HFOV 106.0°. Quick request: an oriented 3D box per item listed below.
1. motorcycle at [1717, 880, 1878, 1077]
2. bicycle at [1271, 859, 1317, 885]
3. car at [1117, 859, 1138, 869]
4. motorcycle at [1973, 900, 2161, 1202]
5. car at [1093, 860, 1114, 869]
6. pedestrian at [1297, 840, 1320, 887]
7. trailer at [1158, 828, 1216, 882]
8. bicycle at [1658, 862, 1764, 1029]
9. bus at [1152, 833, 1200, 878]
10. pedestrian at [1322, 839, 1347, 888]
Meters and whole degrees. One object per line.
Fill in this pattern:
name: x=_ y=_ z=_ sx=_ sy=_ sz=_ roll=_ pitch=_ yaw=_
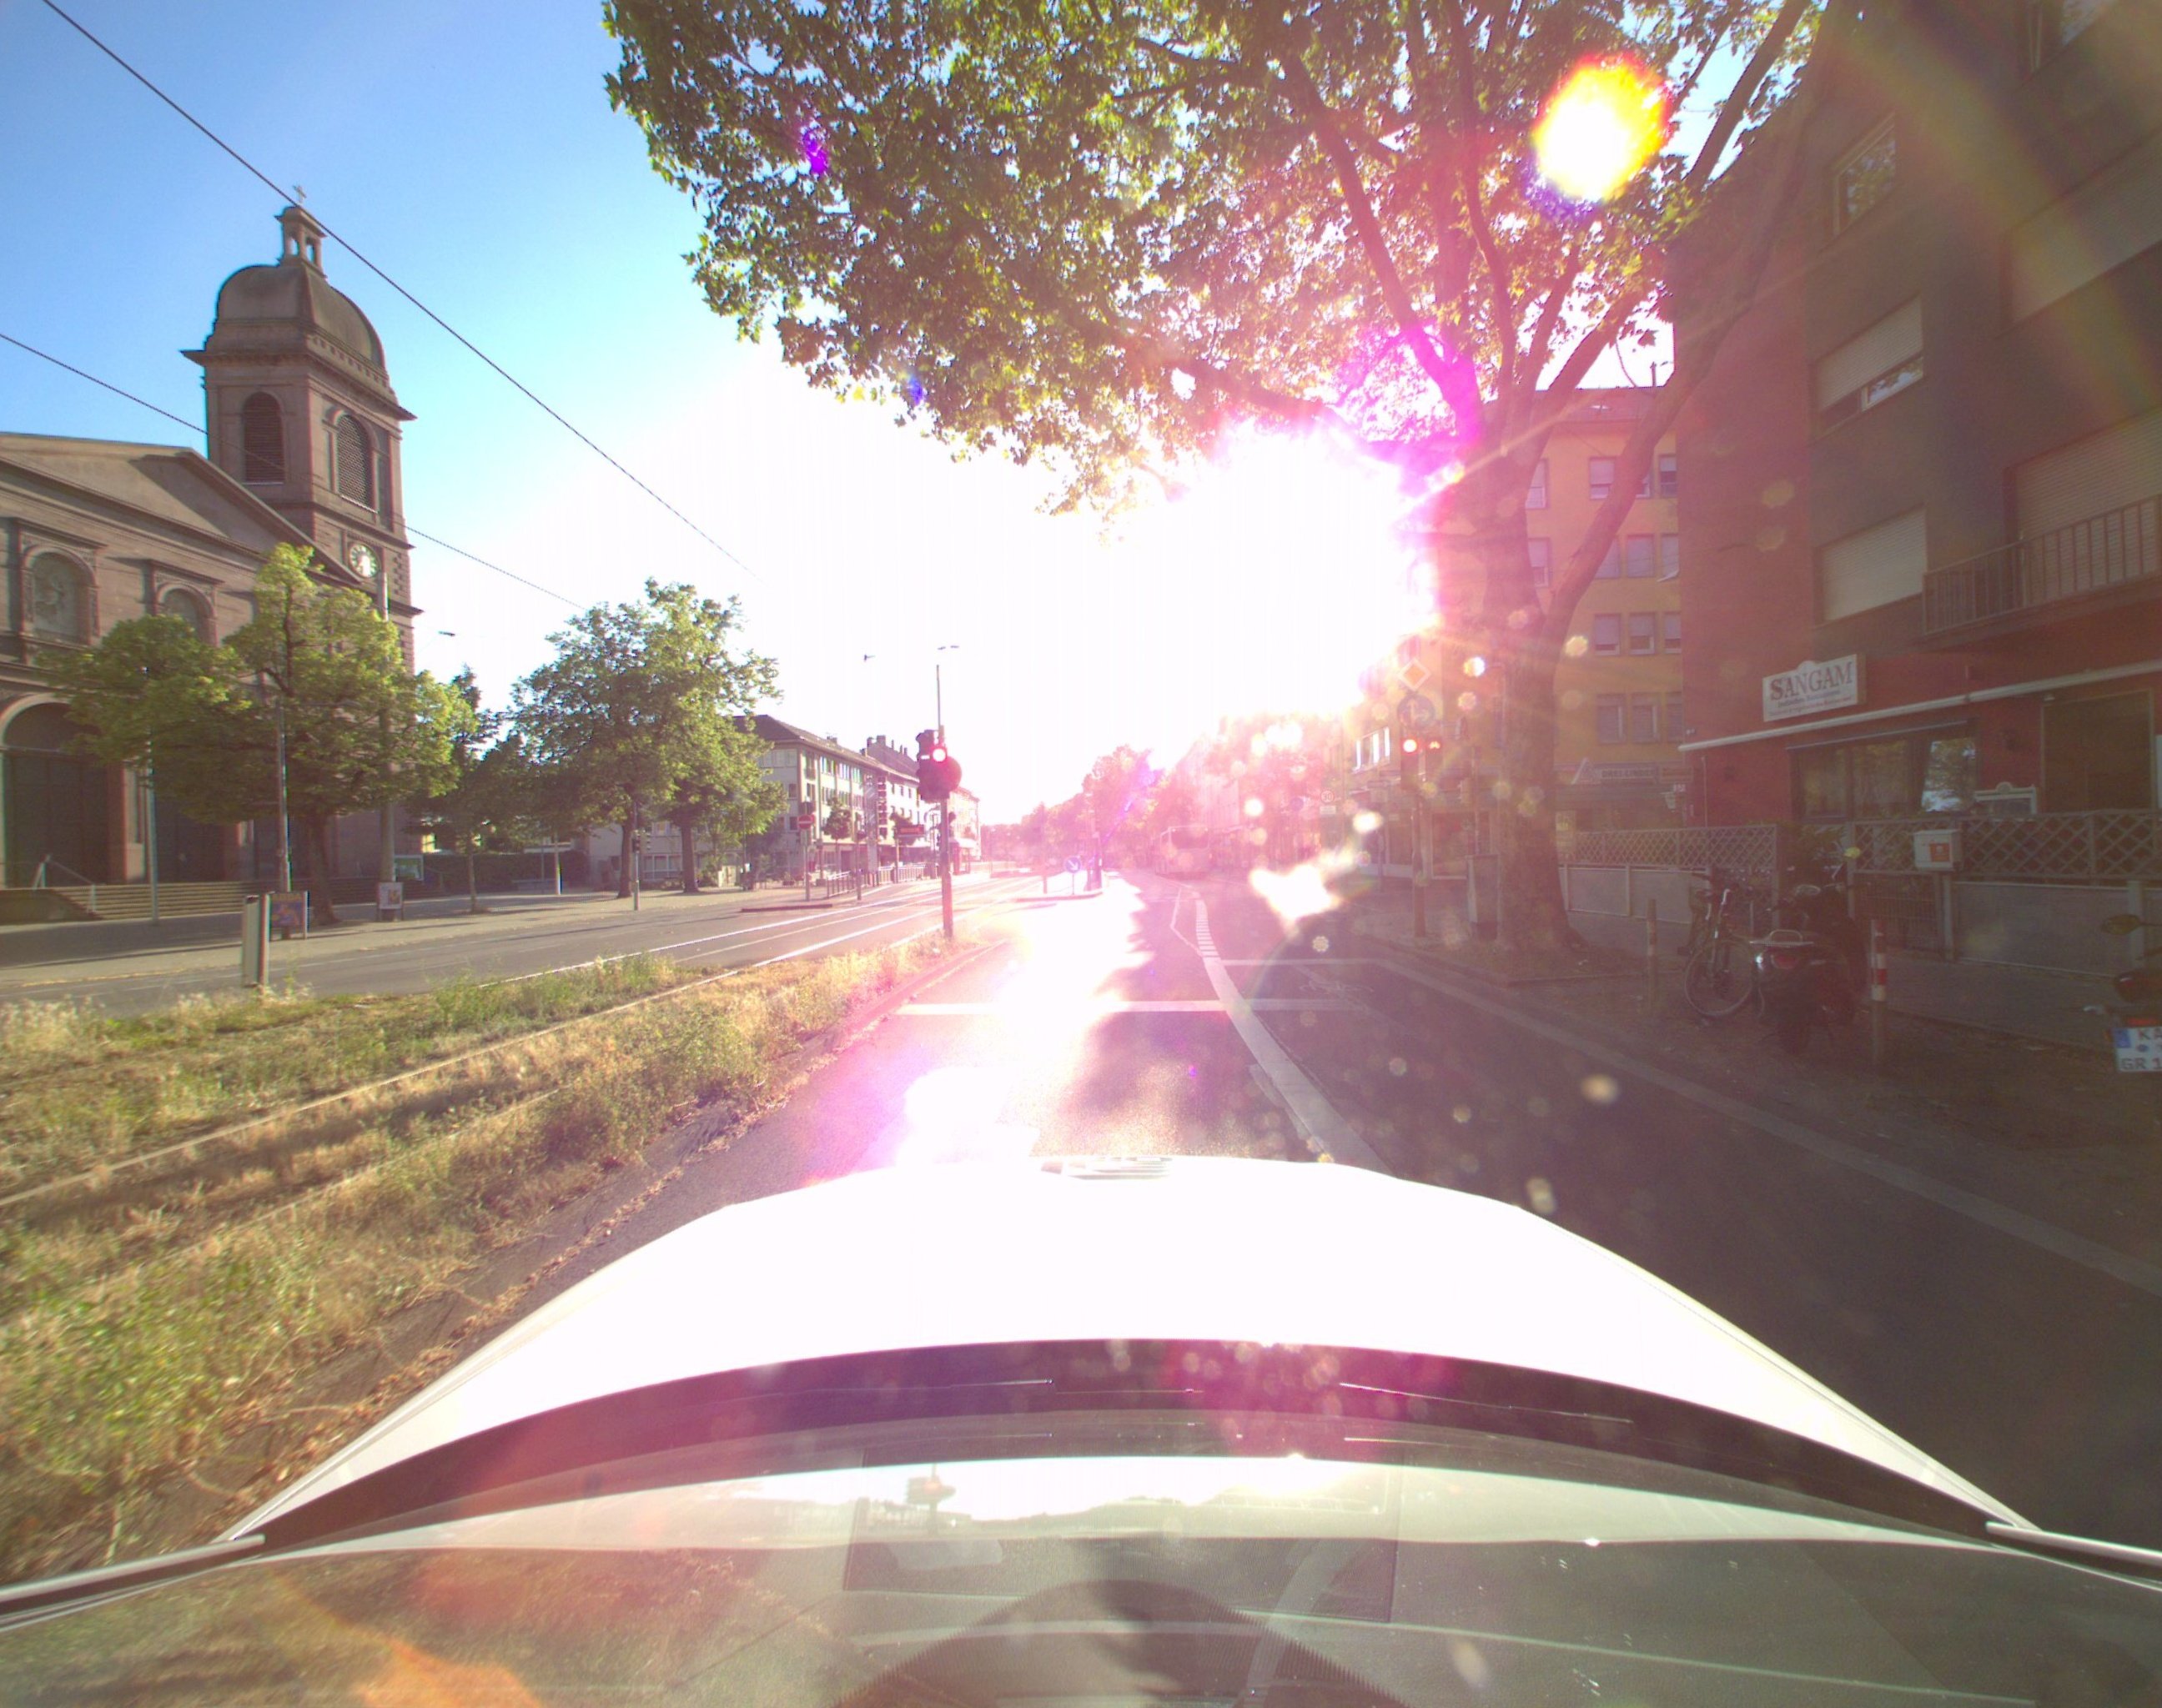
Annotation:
motorcycle: x=5.366 y=0.819 z=6.053 sx=2.009 sy=1.152 sz=0.594 roll=-2 pitch=0 yaw=-41
bicycle: x=9.231 y=0.757 z=35.275 sx=1.766 sy=1.021 sz=0.694 roll=-3 pitch=-1 yaw=1
car: x=9.263 y=1.985 z=162.754 sx=3.911 sy=1.699 sz=1.817 roll=-2 pitch=0 yaw=-27
motorcycle: x=5.392 y=0.834 z=3.876 sx=2.214 sy=1.063 sz=0.762 roll=-4 pitch=0 yaw=-21
car: x=4.703 y=2.204 z=170.721 sx=3.911 sy=1.596 sz=1.676 roll=-2 pitch=0 yaw=-27
pedestrian: x=8.871 y=0.359 z=31.710 sx=0.677 sy=1.770 sz=0.687 roll=-2 pitch=0 yaw=2
trailer: x=6.527 y=0.058 z=51.334 sx=2.801 sy=3.110 sz=8.798 roll=0 pitch=0 yaw=2
bicycle: x=5.779 y=0.743 z=7.424 sx=0.687 sy=1.203 sz=1.859 roll=0 pitch=3 yaw=40
bus: x=6.884 y=0.115 z=60.285 sx=2.801 sy=3.101 sz=9.098 roll=0 pitch=0 yaw=2
pedestrian: x=9.346 y=0.360 z=30.022 sx=0.677 sy=1.770 sz=0.687 roll=-2 pitch=0 yaw=2
